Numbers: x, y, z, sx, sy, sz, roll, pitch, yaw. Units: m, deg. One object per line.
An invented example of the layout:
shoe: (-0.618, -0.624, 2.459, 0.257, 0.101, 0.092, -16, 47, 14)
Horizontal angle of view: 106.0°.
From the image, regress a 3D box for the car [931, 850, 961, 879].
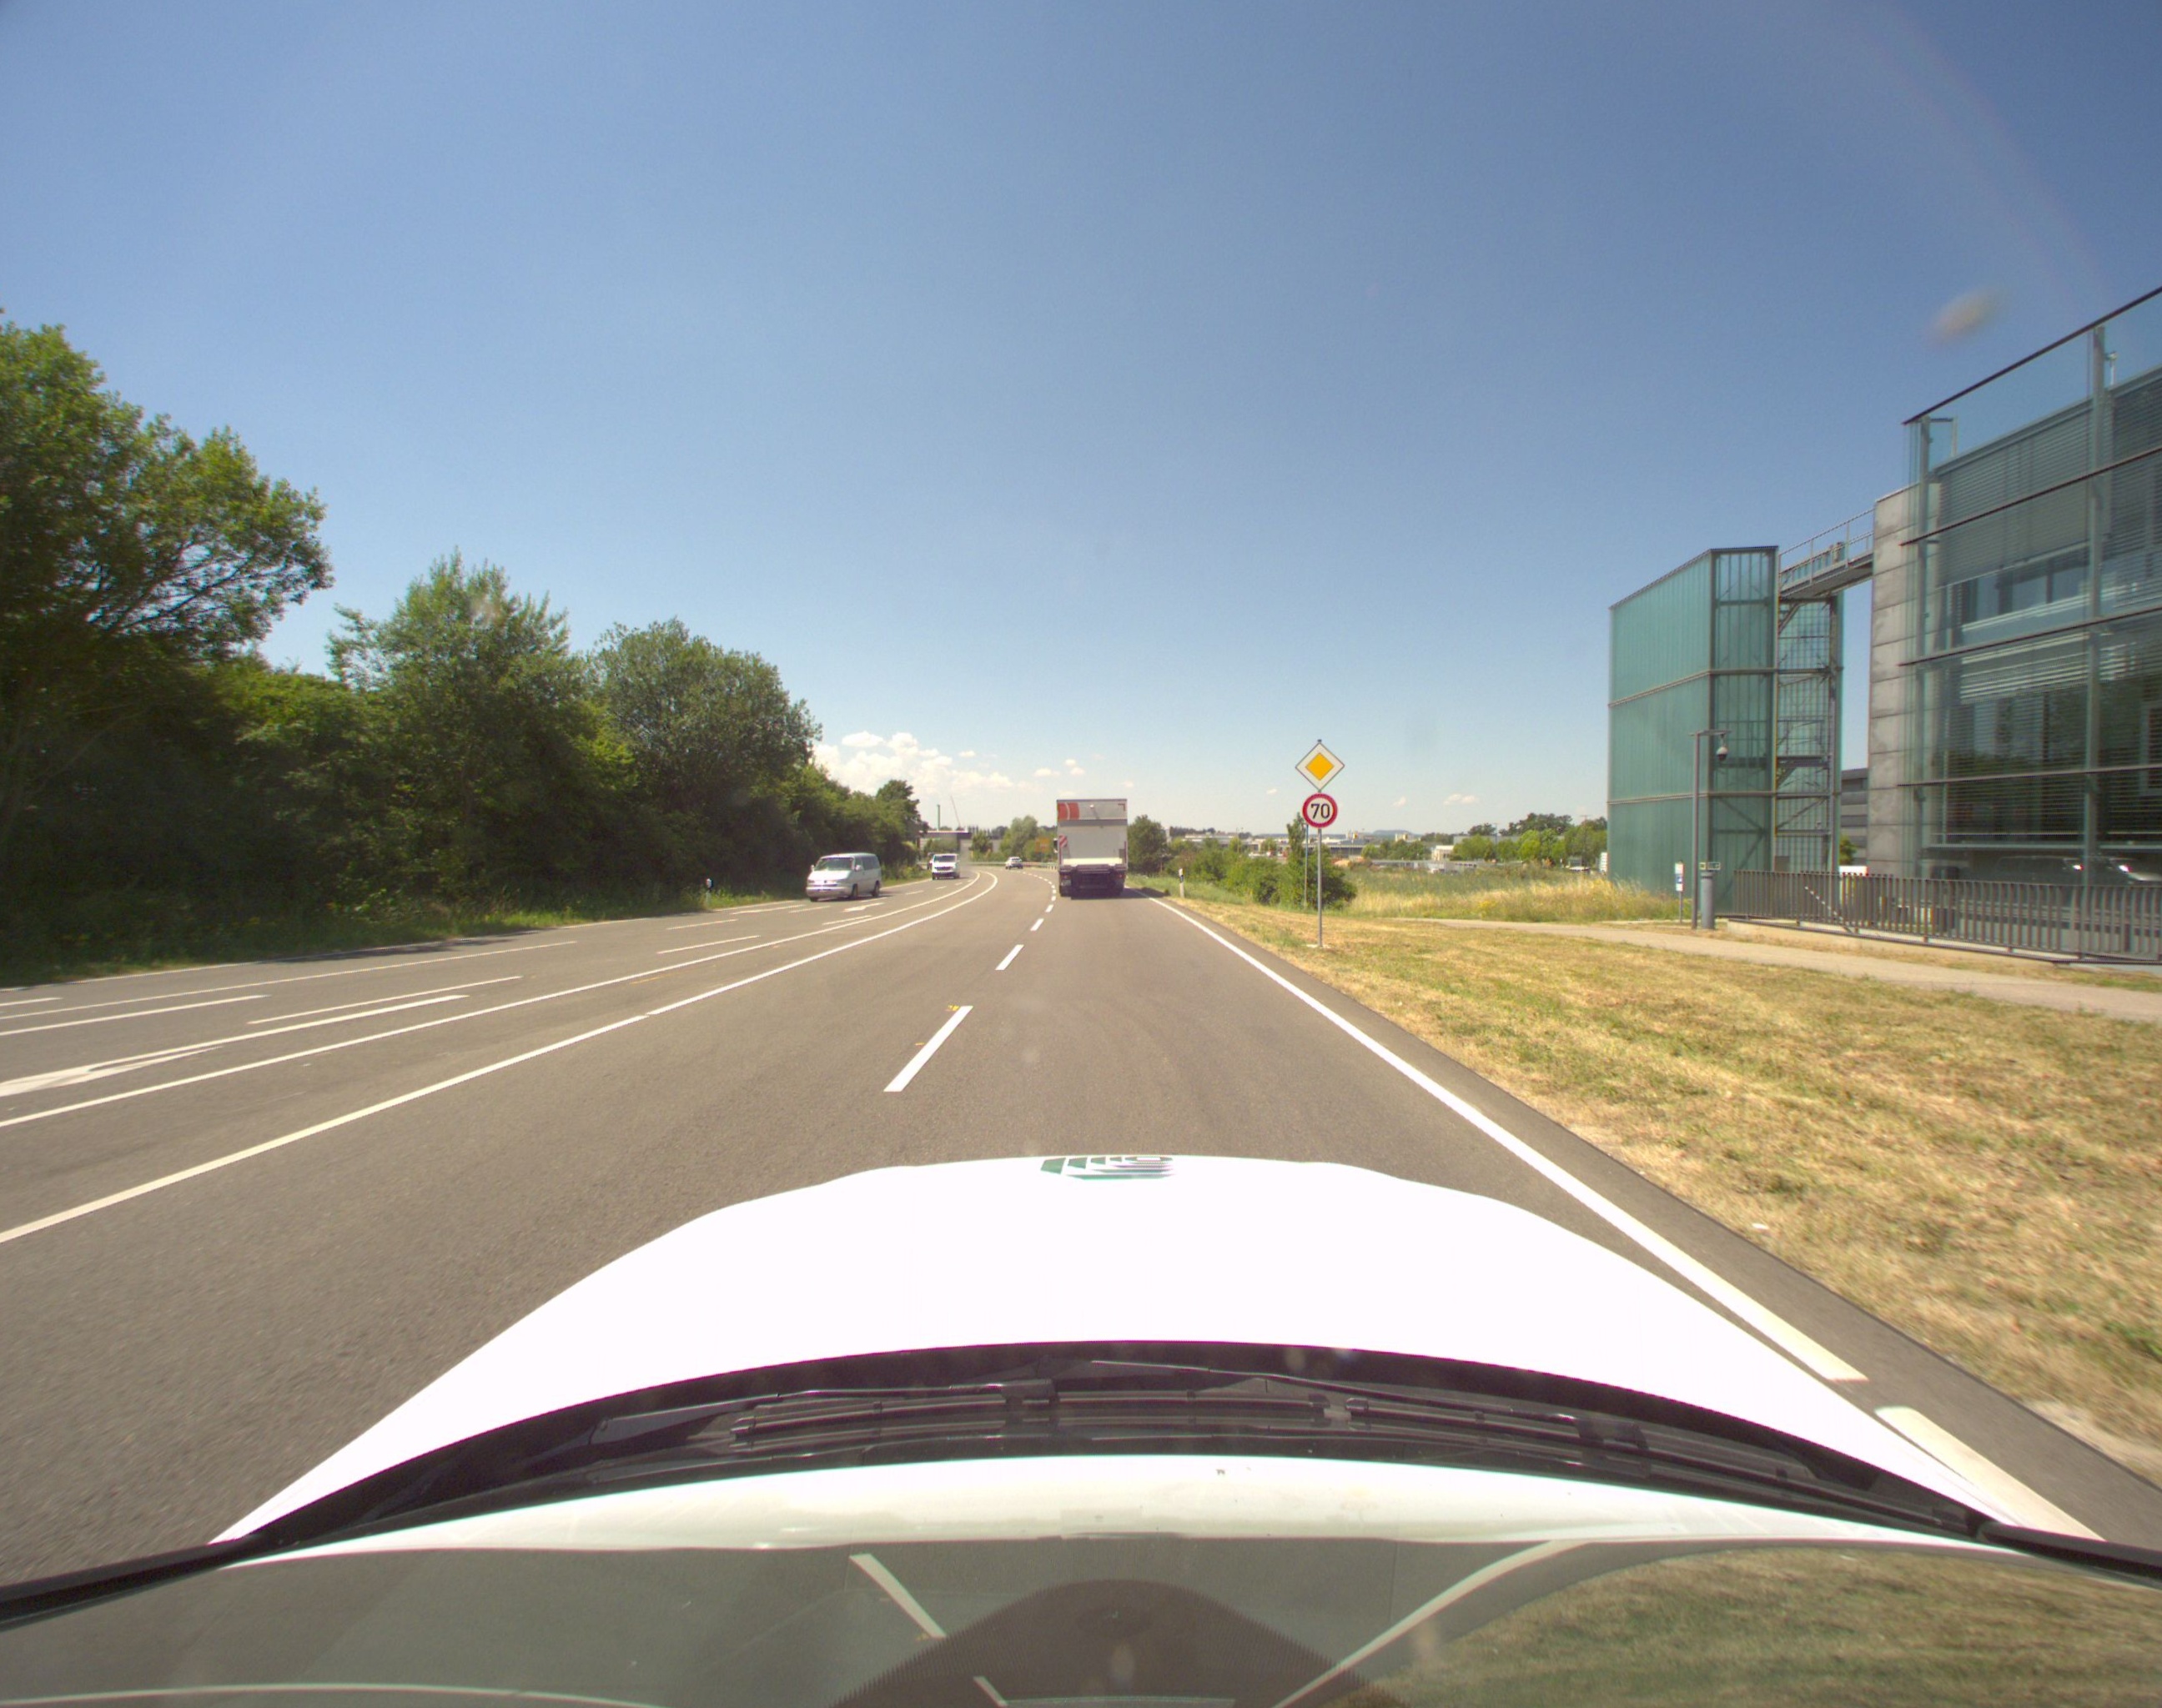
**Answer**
car: (-10.594, 0.779, 64.112, 2.075, 2.013, 5.792, -2, 1, -8)

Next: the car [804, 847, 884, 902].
car: (-9.867, 0.768, 34.278, 1.968, 2.013, 4.840, 0, 2, -1)

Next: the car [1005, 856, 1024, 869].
car: (-8.413, 1.067, 102.708, 1.945, 1.664, 3.984, 0, -1, -12)

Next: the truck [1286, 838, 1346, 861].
truck: (39.617, -0.851, 137.430, 9.299, 3.683, 3.151, 1, 2, 29)

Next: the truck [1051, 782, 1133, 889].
truck: (0.402, -0.727, 33.649, 2.794, 3.710, 9.107, -2, 1, 0)
